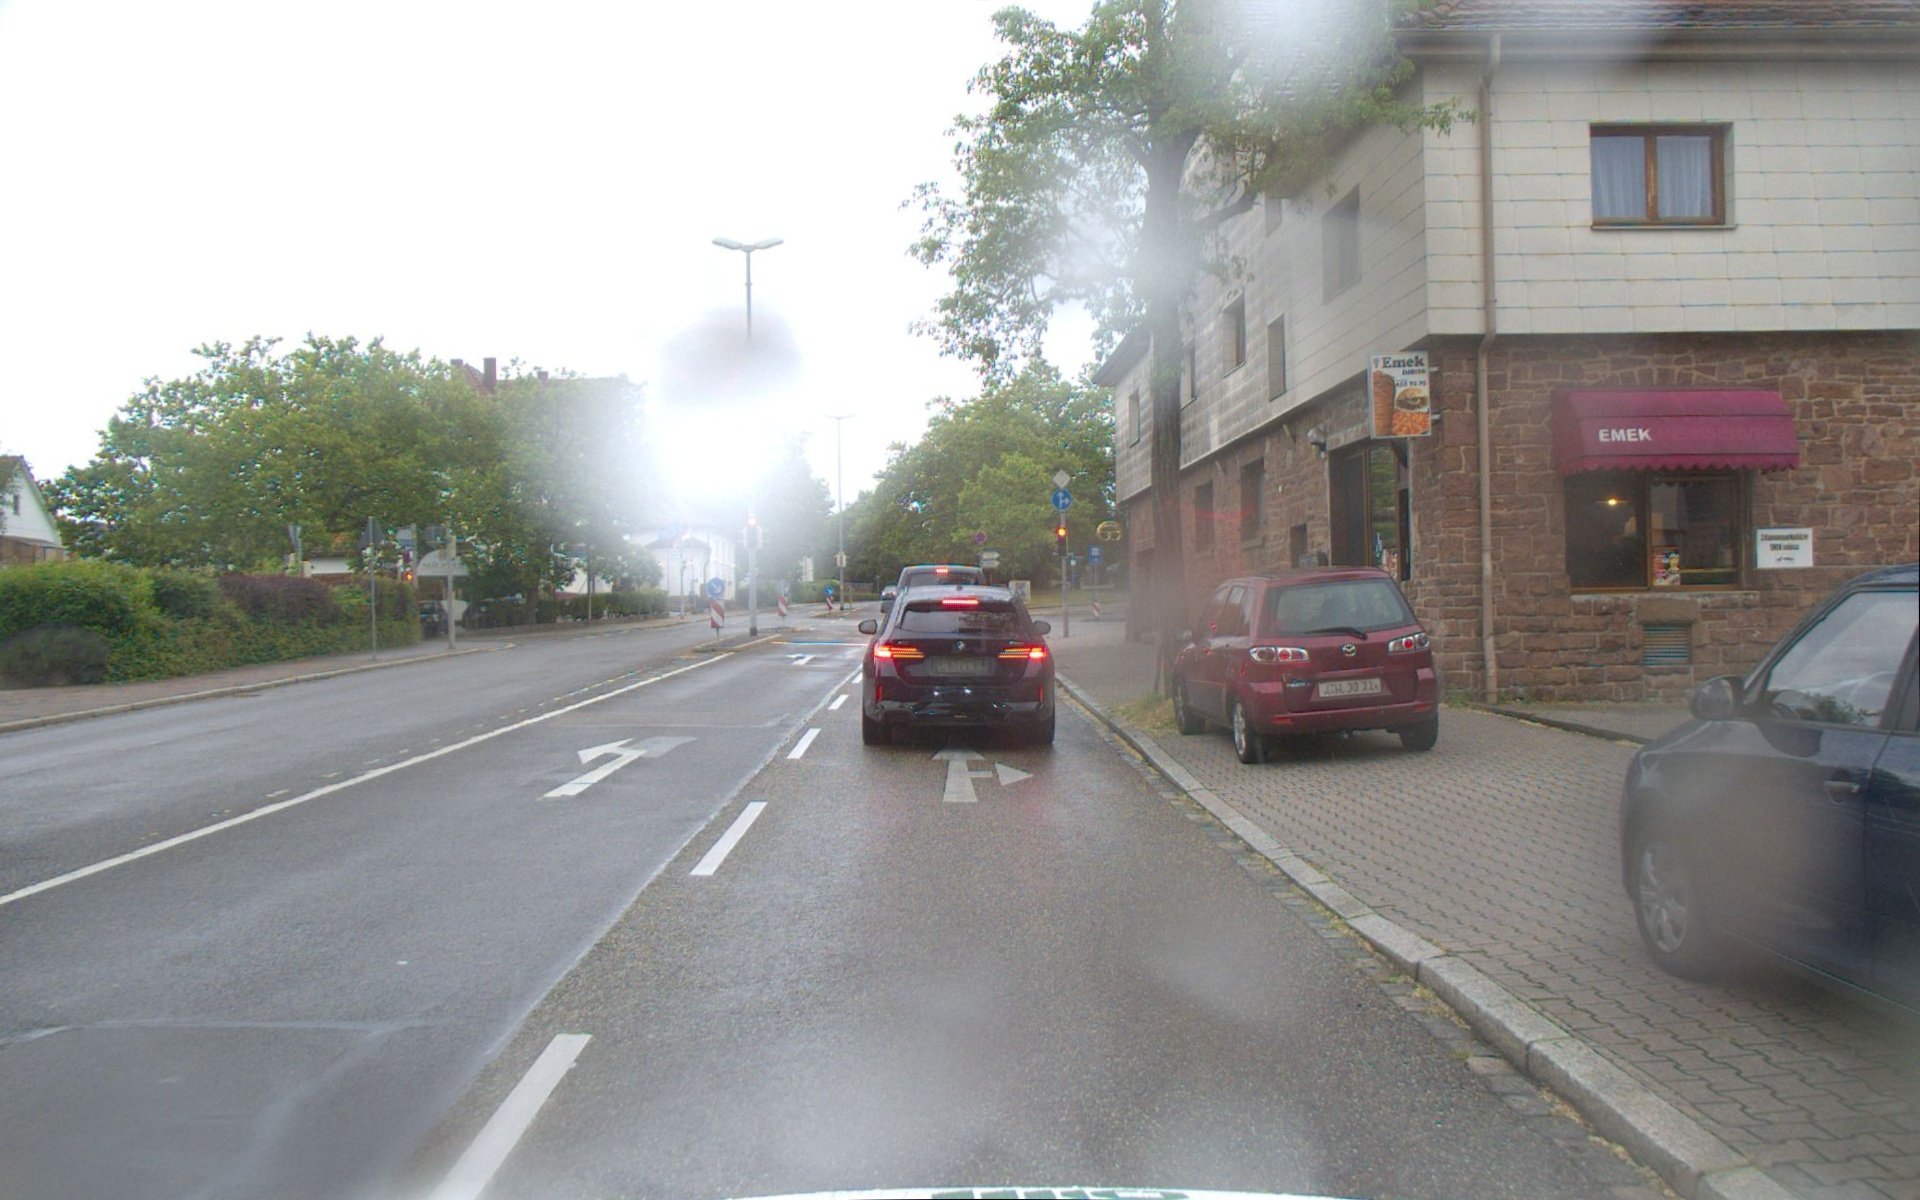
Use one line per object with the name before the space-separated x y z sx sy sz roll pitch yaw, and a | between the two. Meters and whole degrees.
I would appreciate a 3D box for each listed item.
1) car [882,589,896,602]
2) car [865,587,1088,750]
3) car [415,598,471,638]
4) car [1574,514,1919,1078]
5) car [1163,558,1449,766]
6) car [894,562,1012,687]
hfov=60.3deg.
car | -7.706 -0.506 178.949 1.435 1.422 3.321 -1 1 -1
car | 0.046 0.609 17.250 2.023 1.472 4.480 0 0 -3
car | -21.699 0.729 69.339 1.966 1.579 3.974 -1 1 -22
car | 3.306 0.470 4.742 1.572 1.497 3.856 -4 1 0
car | 2.932 0.456 14.755 1.552 1.516 3.625 -4 1 -3
car | -0.178 0.342 26.810 1.748 1.849 3.998 -1 1 -3
